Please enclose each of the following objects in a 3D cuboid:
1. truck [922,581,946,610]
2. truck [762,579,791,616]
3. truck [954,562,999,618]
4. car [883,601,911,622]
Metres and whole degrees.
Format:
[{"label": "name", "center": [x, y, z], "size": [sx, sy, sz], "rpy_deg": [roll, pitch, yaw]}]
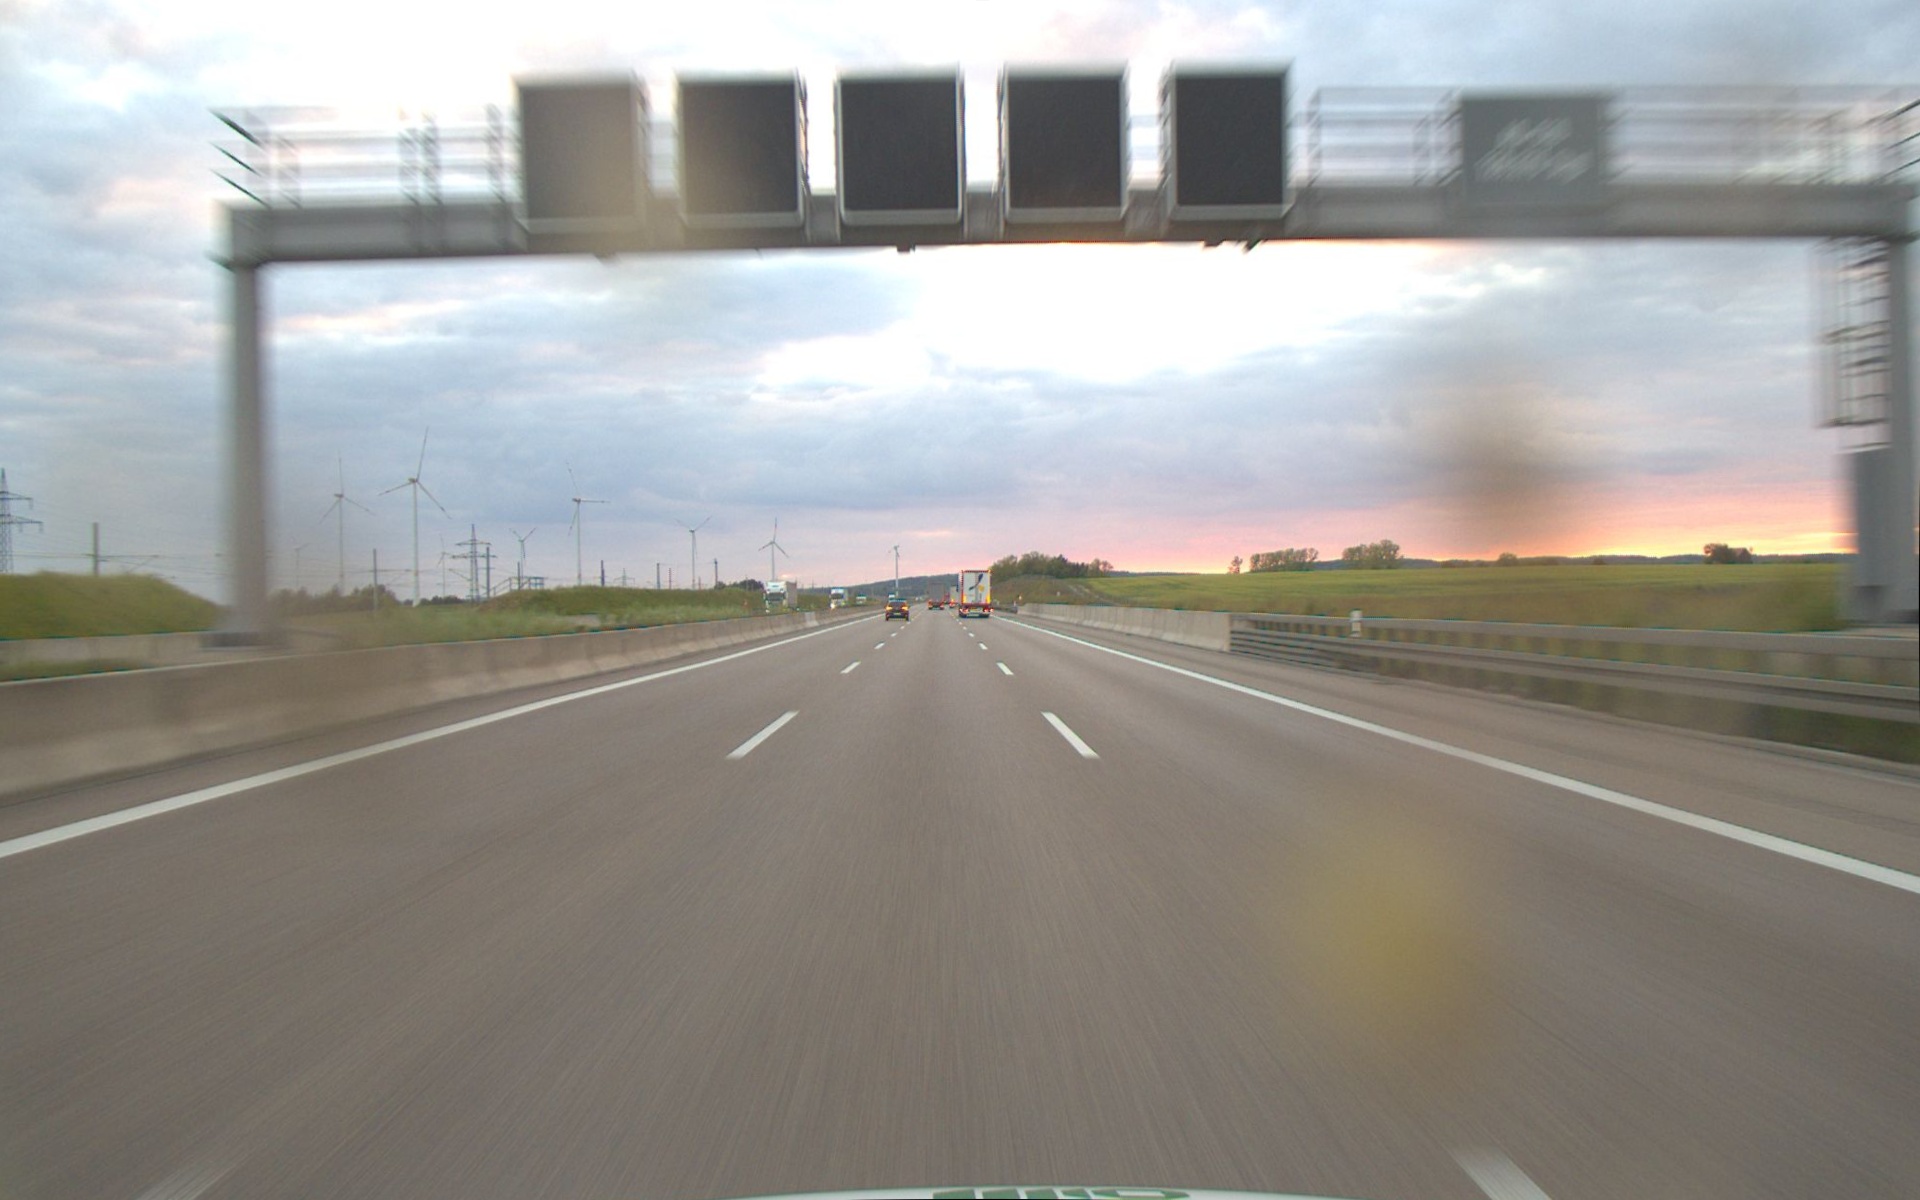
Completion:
[{"label": "truck", "center": [-4.075, -0.692, 257.806], "size": [3.573, 4.491, 8.633], "rpy_deg": [-1, 0, -1]}, {"label": "truck", "center": [-22.269, -0.304, 201.157], "size": [2.760, 4.428, 6.737], "rpy_deg": [0, 0, -1]}, {"label": "truck", "center": [1.390, -0.870, 146.359], "size": [3.601, 4.644, 10.978], "rpy_deg": [-1, 0, -1]}, {"label": "car", "center": [-4.657, 0.818, 121.996], "size": [1.947, 1.454, 3.999], "rpy_deg": [-2, 0, -1]}]
